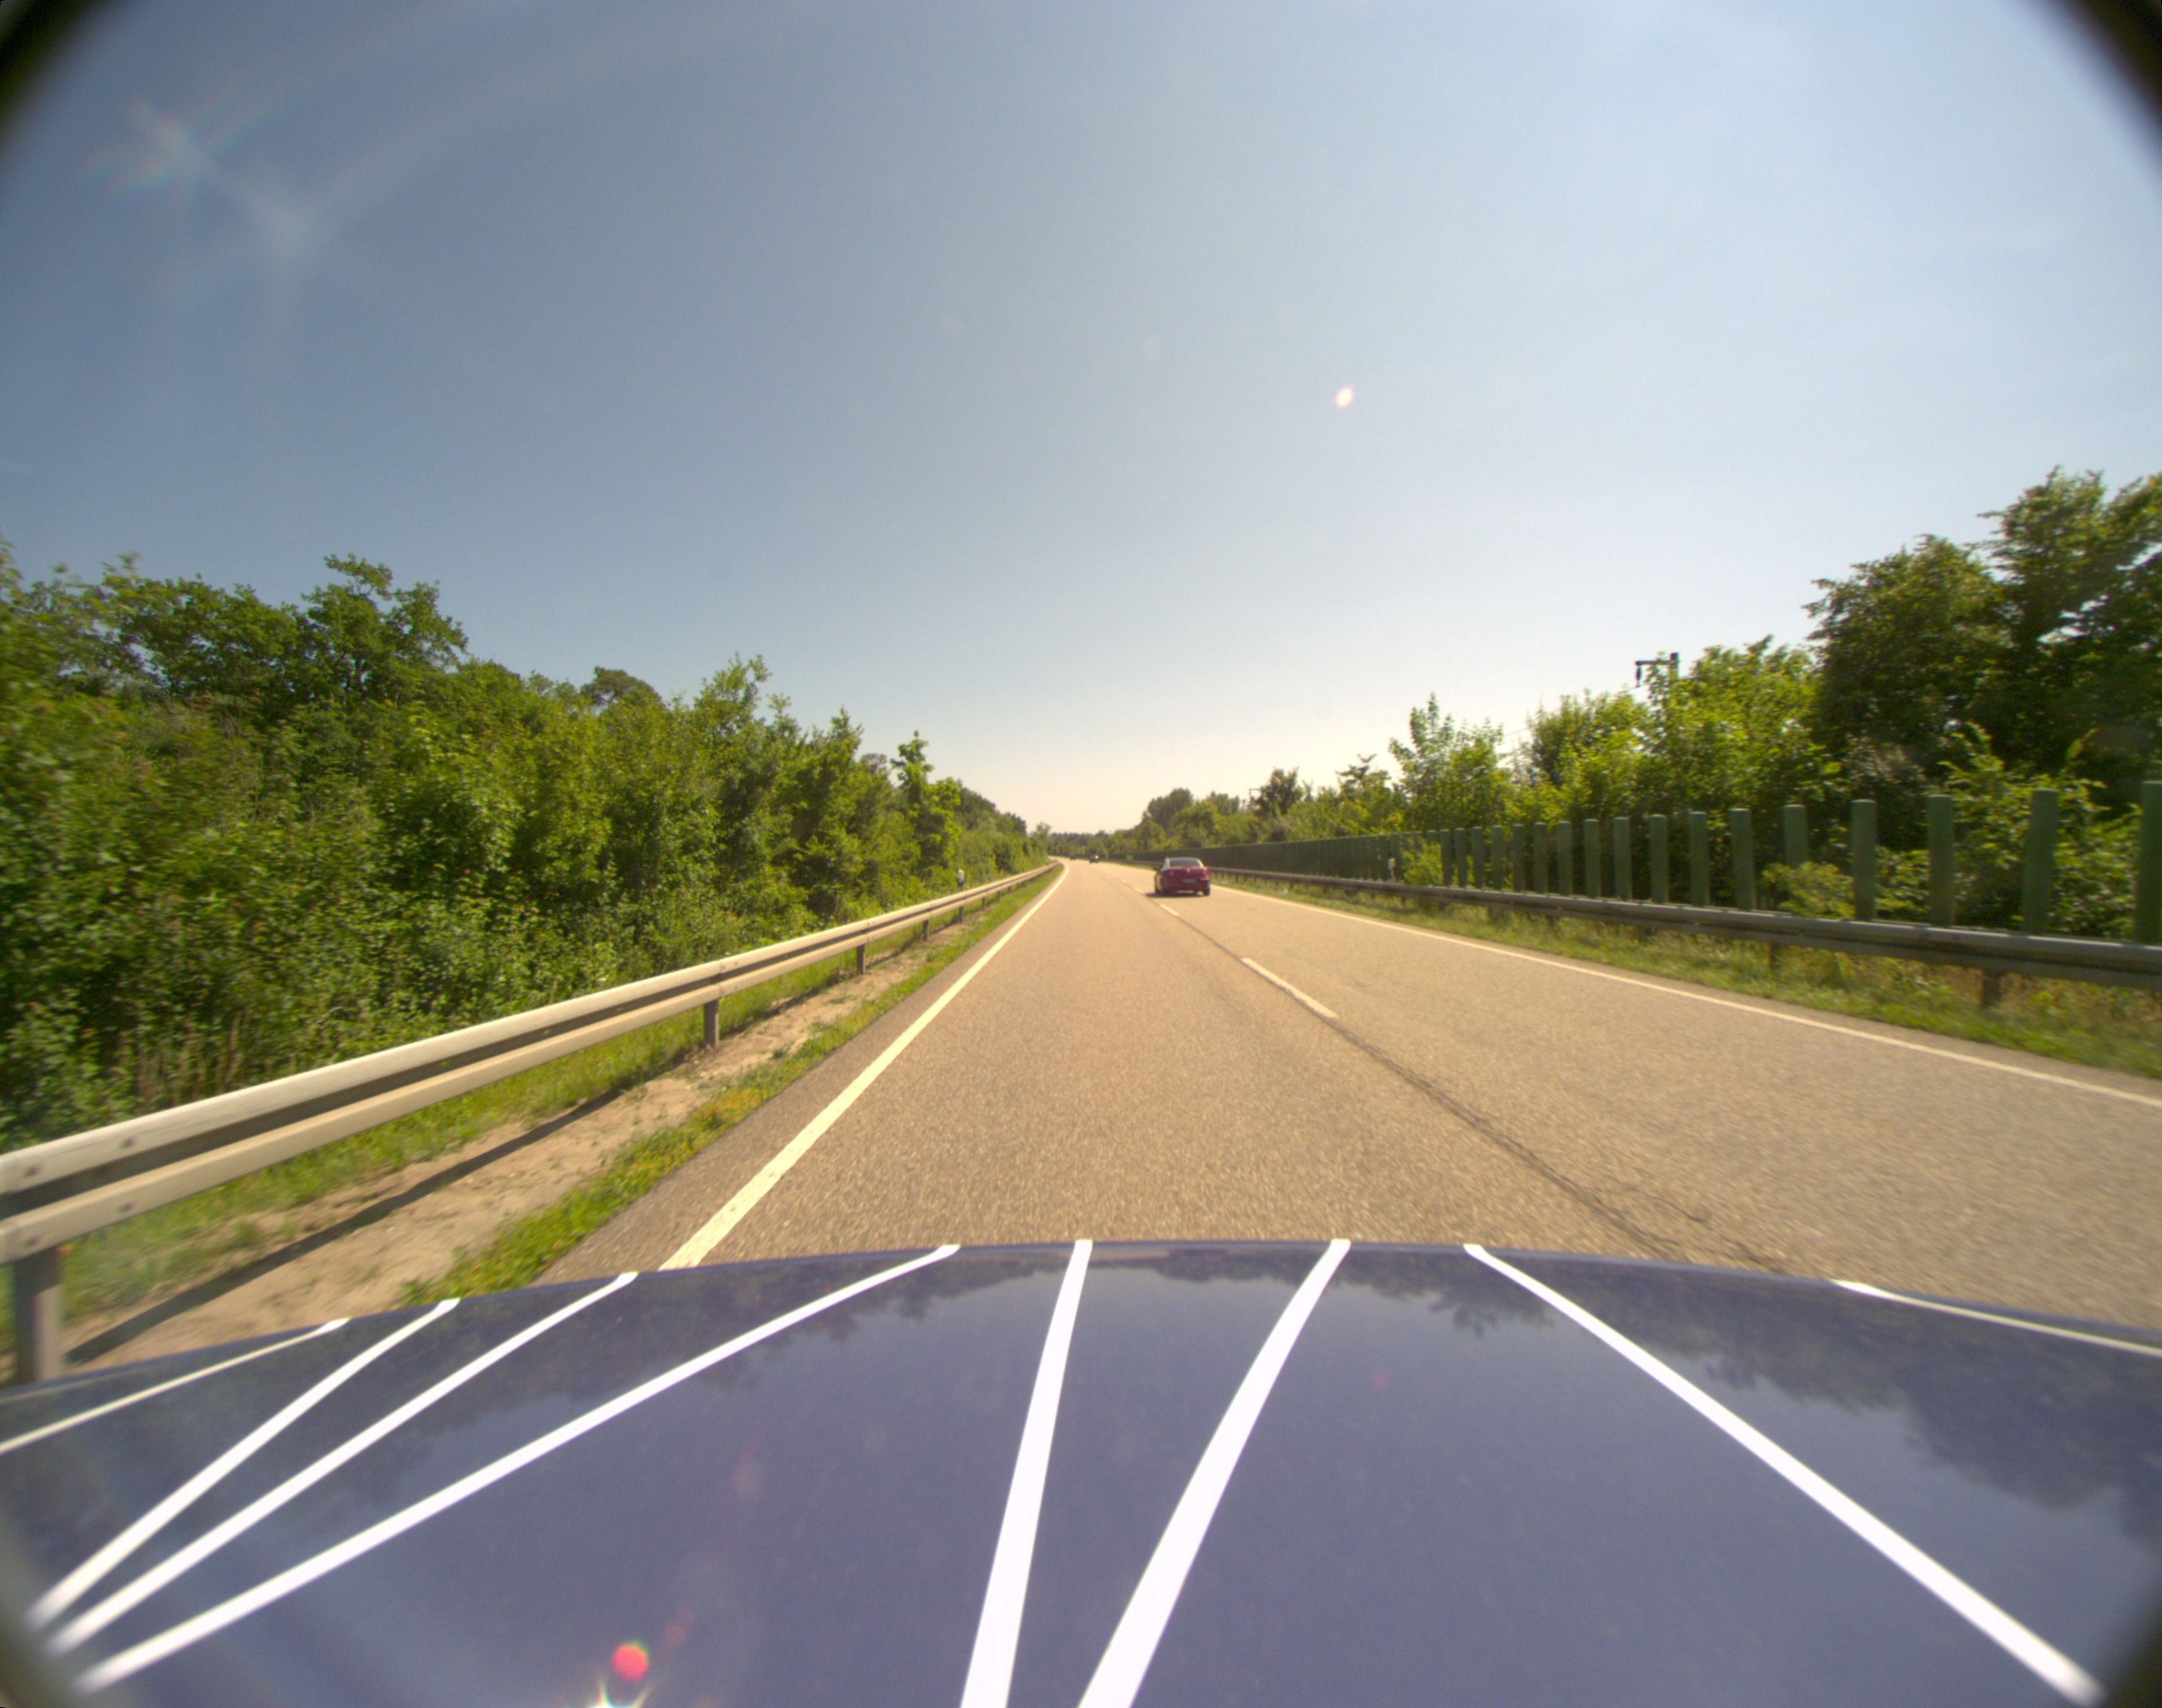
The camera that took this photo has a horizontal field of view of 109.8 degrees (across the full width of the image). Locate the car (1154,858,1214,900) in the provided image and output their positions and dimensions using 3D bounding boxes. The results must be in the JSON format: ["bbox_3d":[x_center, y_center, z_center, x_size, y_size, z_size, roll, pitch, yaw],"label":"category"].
[{"bbox_3d":[3.764,0.873,28.357,1.791,1.364,3.897,-1,0,2],"label":"car"}]

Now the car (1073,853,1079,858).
[{"bbox_3d":[-1.691,0.587,243.290,1.768,1.630,4.126,-1,0,1],"label":"car"}]

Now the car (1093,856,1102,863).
[{"bbox_3d":[3.216,1.063,146.763,1.653,1.470,3.676,-1,0,-1],"label":"car"}]
